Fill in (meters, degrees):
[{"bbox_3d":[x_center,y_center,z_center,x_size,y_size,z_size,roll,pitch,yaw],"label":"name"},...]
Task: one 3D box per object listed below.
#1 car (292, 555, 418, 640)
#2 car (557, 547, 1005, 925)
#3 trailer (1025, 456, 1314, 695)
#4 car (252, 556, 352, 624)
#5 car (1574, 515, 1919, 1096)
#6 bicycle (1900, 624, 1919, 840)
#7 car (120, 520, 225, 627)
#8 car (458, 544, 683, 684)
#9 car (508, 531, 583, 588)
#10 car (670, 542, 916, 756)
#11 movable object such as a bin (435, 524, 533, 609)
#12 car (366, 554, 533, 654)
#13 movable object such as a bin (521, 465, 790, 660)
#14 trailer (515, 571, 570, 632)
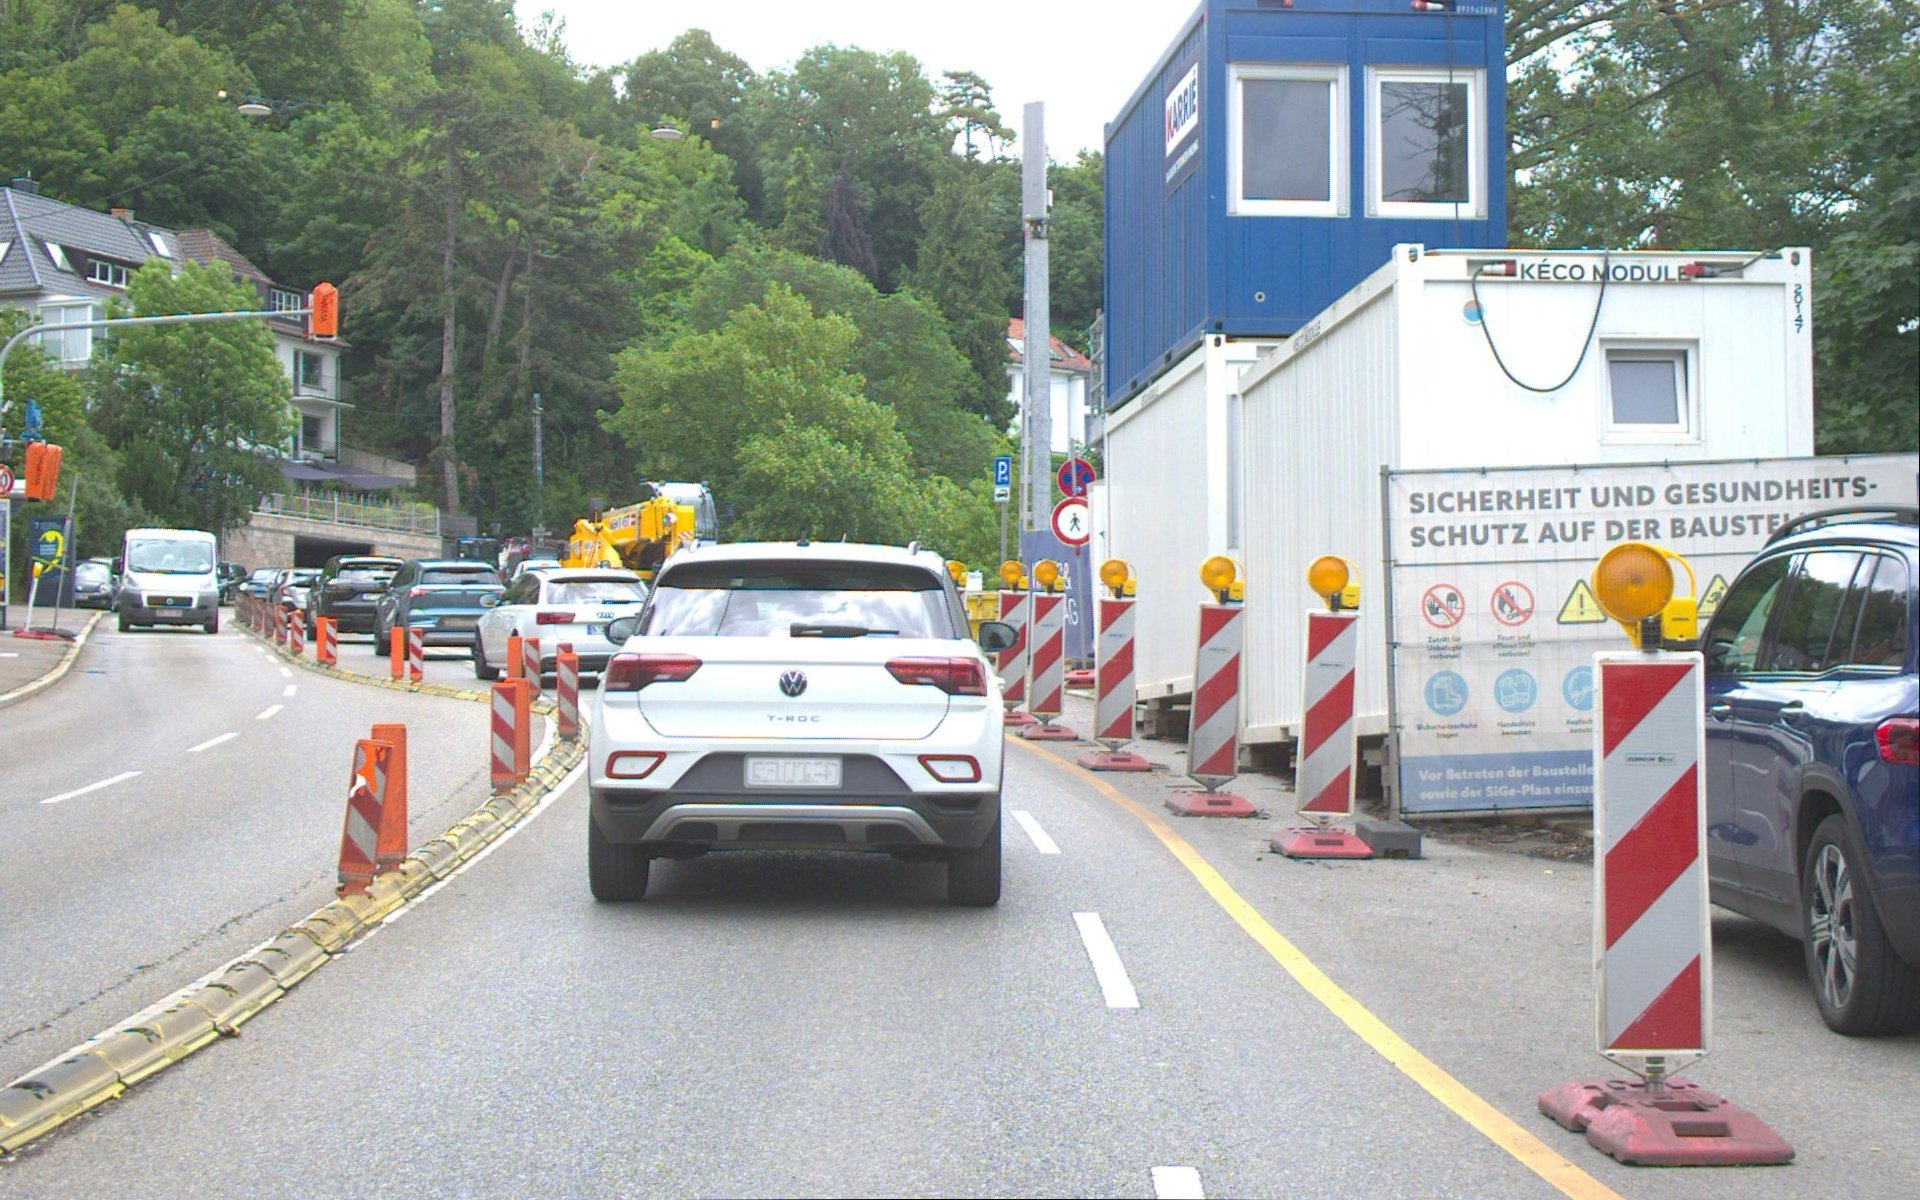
[{"bbox_3d":[-11.591,-0.070,65.708,1.794,1.505,4.001,-2,1,-18],"label":"car"},{"bbox_3d":[-0.709,0.529,15.918,1.810,1.526,4.000,0,1,0],"label":"car"},{"bbox_3d":[2.323,-0.296,39.679,2.106,2.541,5.120,-1,1,-11],"label":"trailer"},{"bbox_3d":[-15.540,-0.243,81.064,1.794,1.505,4.001,-2,1,-18],"label":"car"},{"bbox_3d":[3.577,0.522,12.171,1.839,1.637,4.503,-4,1,-1],"label":"car"},{"bbox_3d":[5.174,0.680,16.930,0.498,1.104,1.800,-2,1,-2],"label":"bicycle"},{"bbox_3d":[-16.891,-0.600,73.937,2.066,2.180,4.964,-1,1,-12],"label":"car"},{"bbox_3d":[-4.922,0.144,43.016,1.809,1.657,4.001,0,1,-22],"label":"car"},{"bbox_3d":[-11.438,-1.101,94.691,1.794,1.505,4.001,0,0,-11],"label":"car"},{"bbox_3d":[-1.465,0.357,28.744,1.809,1.657,4.001,0,1,-6],"label":"car"},{"bbox_3d":[-15.442,-1.089,111.828,2.212,2.654,4.944,1,1,3],"label":"movable object such as a bin"},{"bbox_3d":[-8.063,0.040,54.033,1.794,1.505,4.001,0,1,-21],"label":"car"},{"bbox_3d":[-5.351,-0.646,59.030,2.810,3.060,7.825,2,0,-18],"label":"movable object such as a bin"},{"bbox_3d":[-10.576,0.017,86.947,1.288,1.470,3.635,1,0,-8],"label":"trailer"}]
